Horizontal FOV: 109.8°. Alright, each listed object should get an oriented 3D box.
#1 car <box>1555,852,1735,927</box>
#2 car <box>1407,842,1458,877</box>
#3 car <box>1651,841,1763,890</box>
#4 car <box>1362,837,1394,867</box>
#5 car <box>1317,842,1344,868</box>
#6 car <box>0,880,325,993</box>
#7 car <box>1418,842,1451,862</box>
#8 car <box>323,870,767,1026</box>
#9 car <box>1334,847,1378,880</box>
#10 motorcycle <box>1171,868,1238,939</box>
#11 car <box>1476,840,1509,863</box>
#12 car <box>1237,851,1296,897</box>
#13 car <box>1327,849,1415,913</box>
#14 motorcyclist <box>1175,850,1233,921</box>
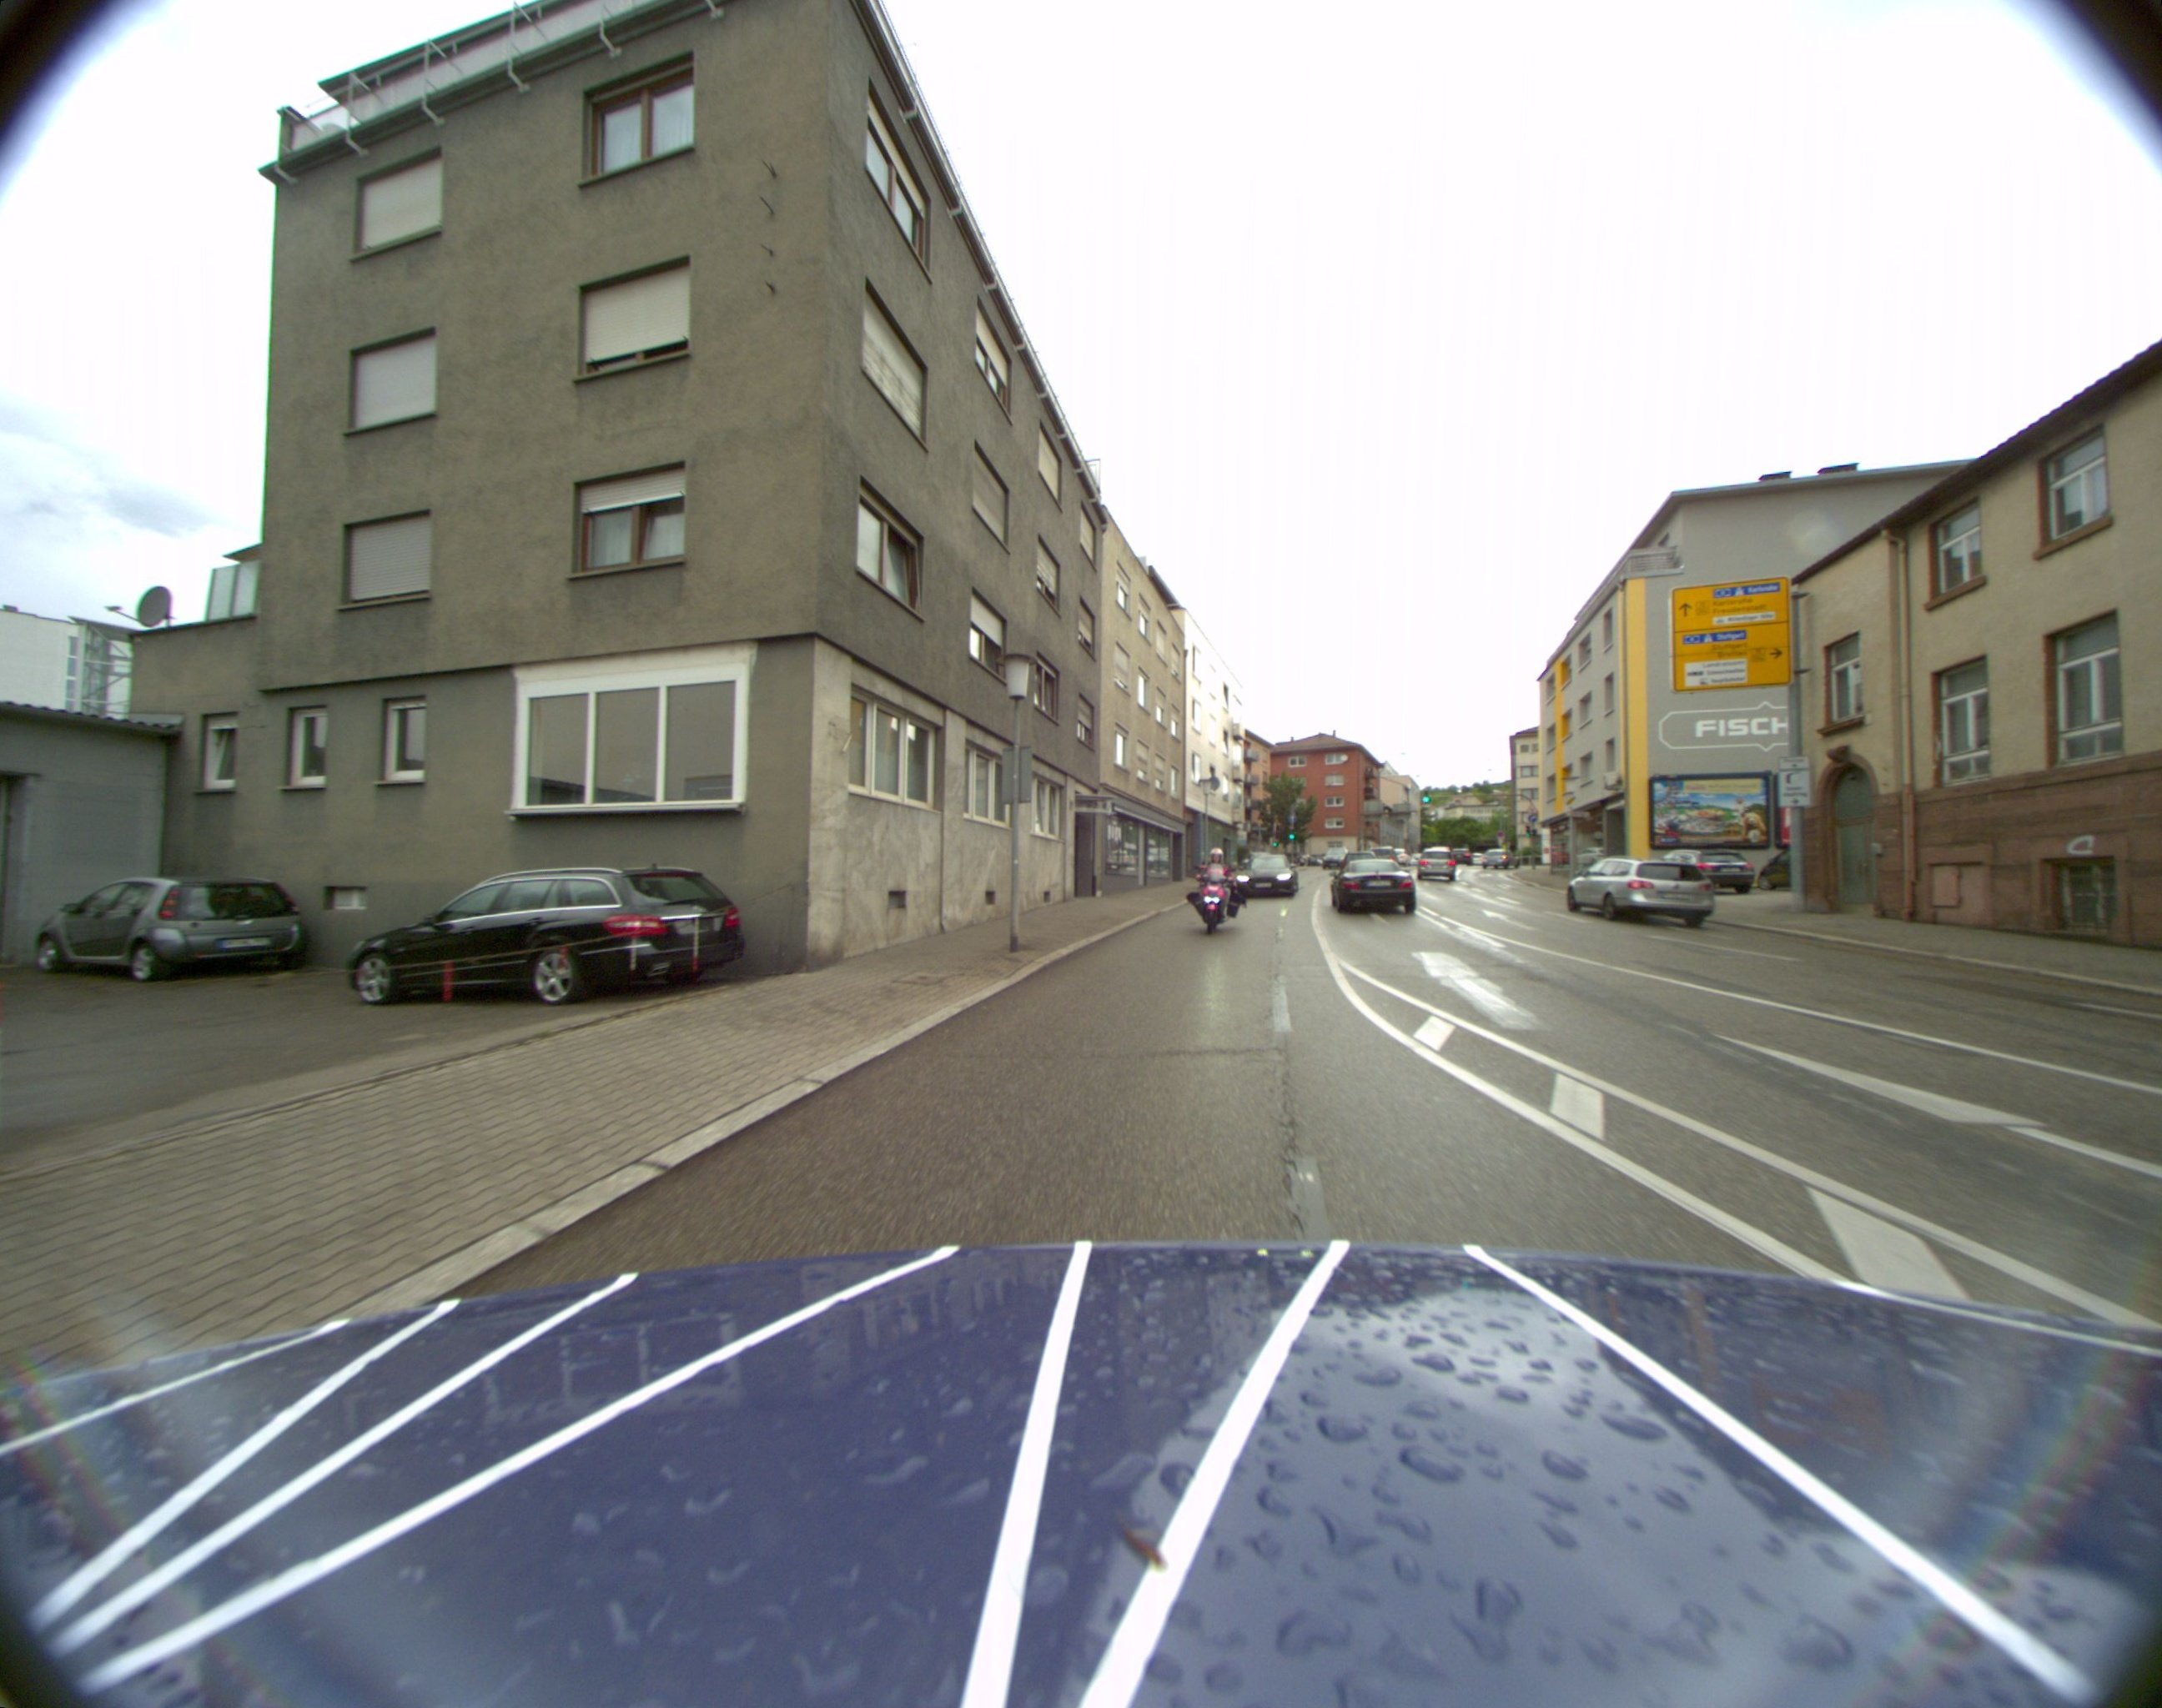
[{"bbox_3d":[13.099,0.739,18.022,1.860,1.446,4.322,2,1,14],"label":"car"},{"bbox_3d":[17.985,0.249,39.054,1.859,1.688,4.324,0,1,18],"label":"car"},{"bbox_3d":[21.305,0.370,26.059,1.859,1.445,3.969,-4,-1,23],"label":"car"},{"bbox_3d":[19.591,-0.130,50.236,1.846,1.893,3.770,-1,1,19],"label":"car"},{"bbox_3d":[19.526,0.077,59.473,1.845,1.893,3.770,-1,1,20],"label":"car"},{"bbox_3d":[-14.037,1.170,11.670,3.747,1.445,1.797,0,-1,16],"label":"car"},{"bbox_3d":[27.143,-0.166,58.421,1.859,1.445,4.324,0,1,19],"label":"car"},{"bbox_3d":[-6.424,1.053,9.232,4.527,1.495,2.002,-2,0,17],"label":"car"},{"bbox_3d":[13.154,0.409,36.229,1.859,1.445,4.324,0,1,21],"label":"car"},{"bbox_3d":[2.574,0.966,15.569,1.009,1.218,2.697,-3,0,15],"label":"motorcycle"},{"bbox_3d":[31.364,-0.207,58.037,1.859,1.687,4.325,0,1,24],"label":"car"},{"bbox_3d":[6.804,0.674,27.559,1.703,1.451,4.324,-3,0,18],"label":"car"},{"bbox_3d":[7.503,0.619,19.995,1.860,1.445,4.323,0,1,17],"label":"car"},{"bbox_3d":[2.526,0.634,15.501,1.009,1.373,0.835,-3,0,15],"label":"motorcyclist"}]
